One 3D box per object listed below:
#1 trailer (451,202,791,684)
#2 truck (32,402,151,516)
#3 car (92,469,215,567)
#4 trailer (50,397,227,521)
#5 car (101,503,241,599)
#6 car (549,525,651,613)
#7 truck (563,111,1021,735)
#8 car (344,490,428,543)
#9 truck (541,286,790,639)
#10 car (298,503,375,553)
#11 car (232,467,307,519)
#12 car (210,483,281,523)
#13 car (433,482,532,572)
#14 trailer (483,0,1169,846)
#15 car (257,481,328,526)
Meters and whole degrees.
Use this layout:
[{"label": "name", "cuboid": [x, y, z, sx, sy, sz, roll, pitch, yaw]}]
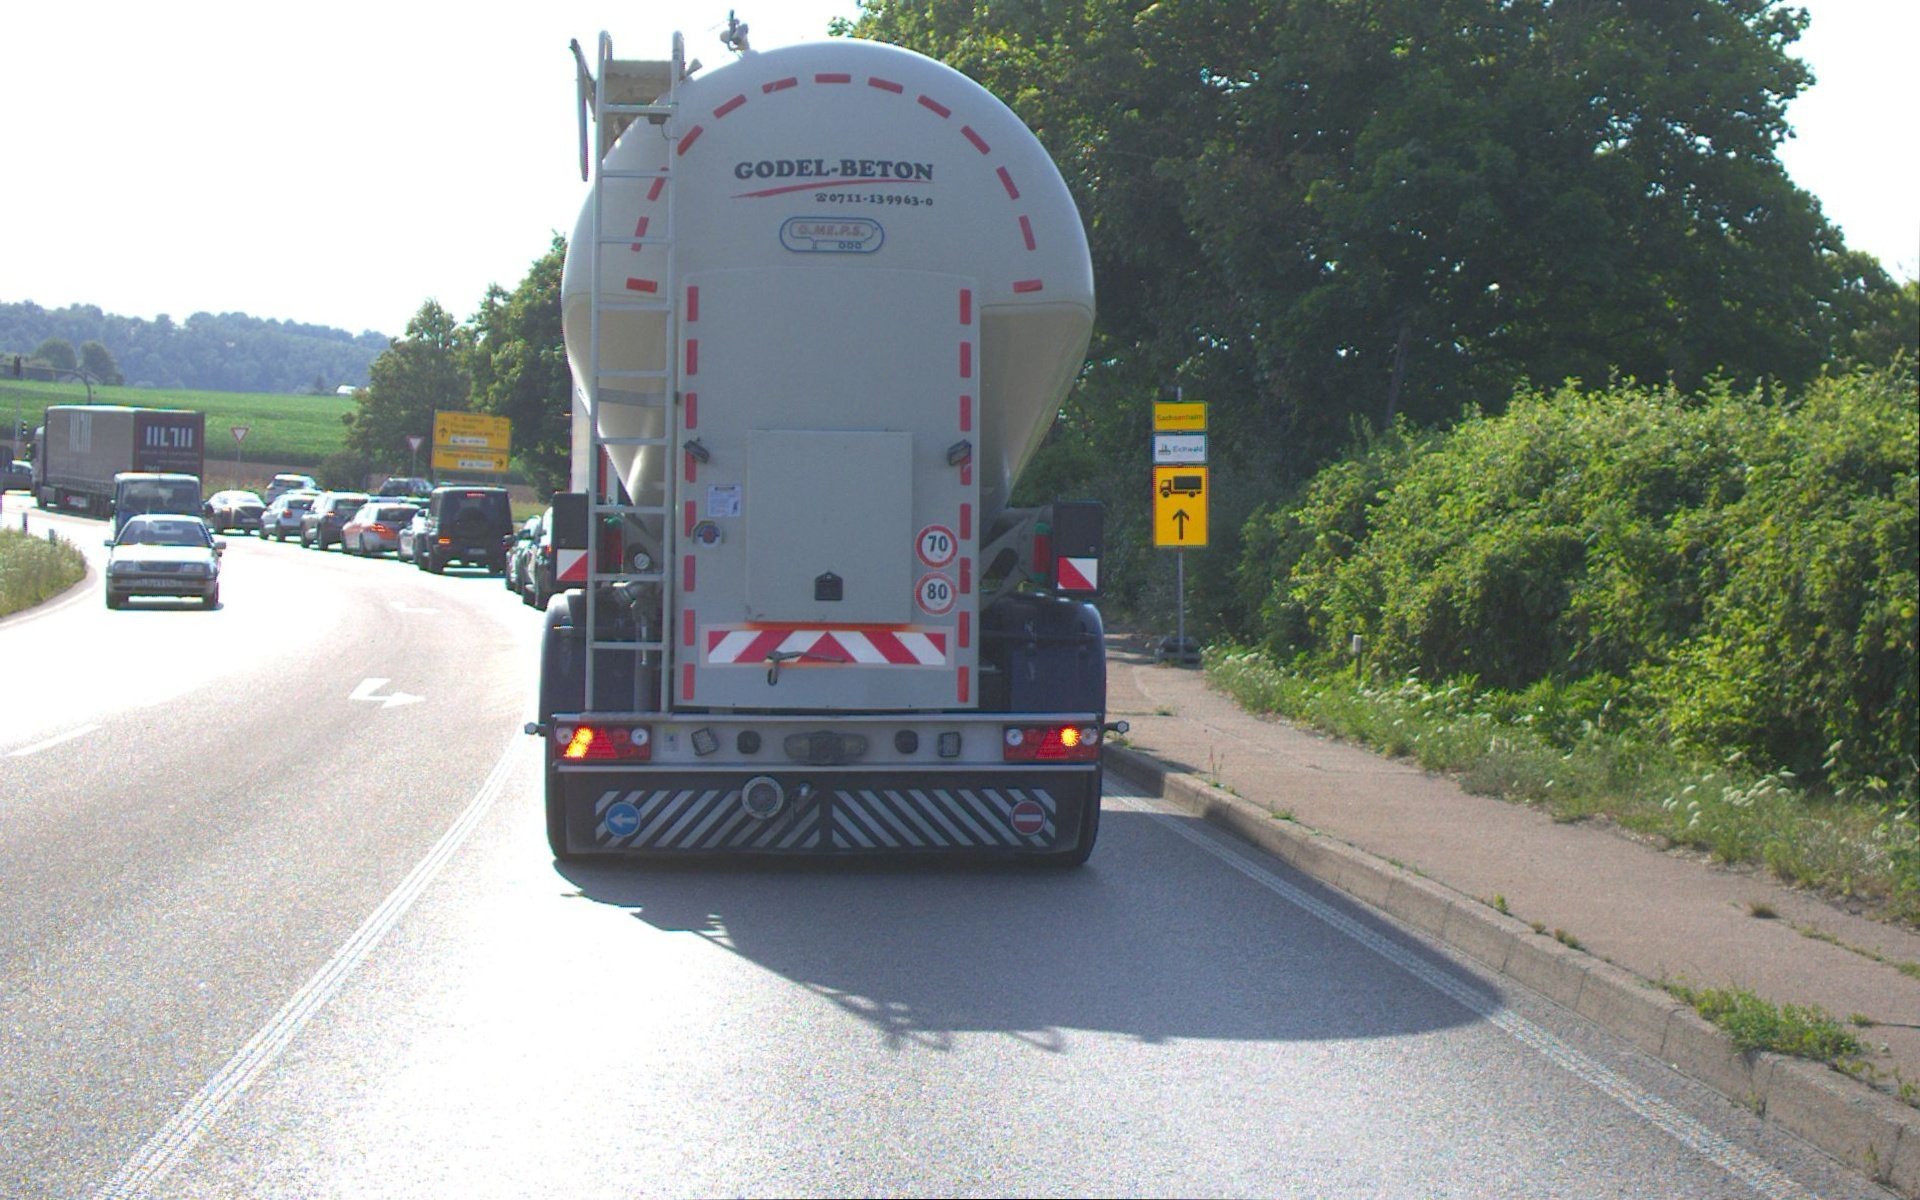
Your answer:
[{"label": "trailer", "cuboid": [-3.463, -1.607, 38.570, 2.954, 4.300, 14.177, 2, 1, -3]}, {"label": "truck", "cuboid": [-34.884, -5.631, 137.922, 3.375, 4.335, 5.707, 2, 1, -26]}, {"label": "car", "cuboid": [-18.467, -1.886, 78.551, 1.997, 2.129, 4.781, 1, 1, -22]}, {"label": "trailer", "cuboid": [-31.411, -5.354, 130.804, 3.375, 4.335, 14.297, 2, 1, -26]}, {"label": "car", "cuboid": [-12.509, -0.796, 54.710, 1.706, 1.423, 4.179, 1, 1, -7]}, {"label": "car", "cuboid": [-5.950, -0.538, 56.706, 1.580, 1.336, 3.426, 2, 1, -6]}, {"label": "truck", "cuboid": [-1.220, -1.183, 24.311, 2.909, 3.992, 4.060, 1, 1, -4]}, {"label": "car", "cuboid": [-15.605, -2.272, 93.360, 1.580, 1.336, 3.427, 2, 1, -20]}, {"label": "truck", "cuboid": [-3.800, -1.773, 45.417, 2.951, 4.288, 4.932, 2, 1, -3]}, {"label": "car", "cuboid": [-18.031, -2.083, 99.290, 1.580, 1.336, 3.427, 2, 1, -20]}, {"label": "car", "cuboid": [-28.327, -4.408, 140.970, 1.993, 2.006, 4.001, 0, 3, -27]}, {"label": "car", "cuboid": [-23.591, -3.205, 113.499, 1.769, 1.201, 3.427, 2, 1, -20]}, {"label": "car", "cuboid": [-11.020, -1.690, 79.142, 1.861, 2.007, 3.720, 1, 1, -14]}, {"label": "trailer", "cuboid": [-0.911, -1.051, 19.808, 2.909, 3.992, 9.932, 1, 1, -4]}, {"label": "car", "cuboid": [-20.829, -3.017, 107.176, 1.580, 1.336, 3.427, 2, 1, -20]}]
